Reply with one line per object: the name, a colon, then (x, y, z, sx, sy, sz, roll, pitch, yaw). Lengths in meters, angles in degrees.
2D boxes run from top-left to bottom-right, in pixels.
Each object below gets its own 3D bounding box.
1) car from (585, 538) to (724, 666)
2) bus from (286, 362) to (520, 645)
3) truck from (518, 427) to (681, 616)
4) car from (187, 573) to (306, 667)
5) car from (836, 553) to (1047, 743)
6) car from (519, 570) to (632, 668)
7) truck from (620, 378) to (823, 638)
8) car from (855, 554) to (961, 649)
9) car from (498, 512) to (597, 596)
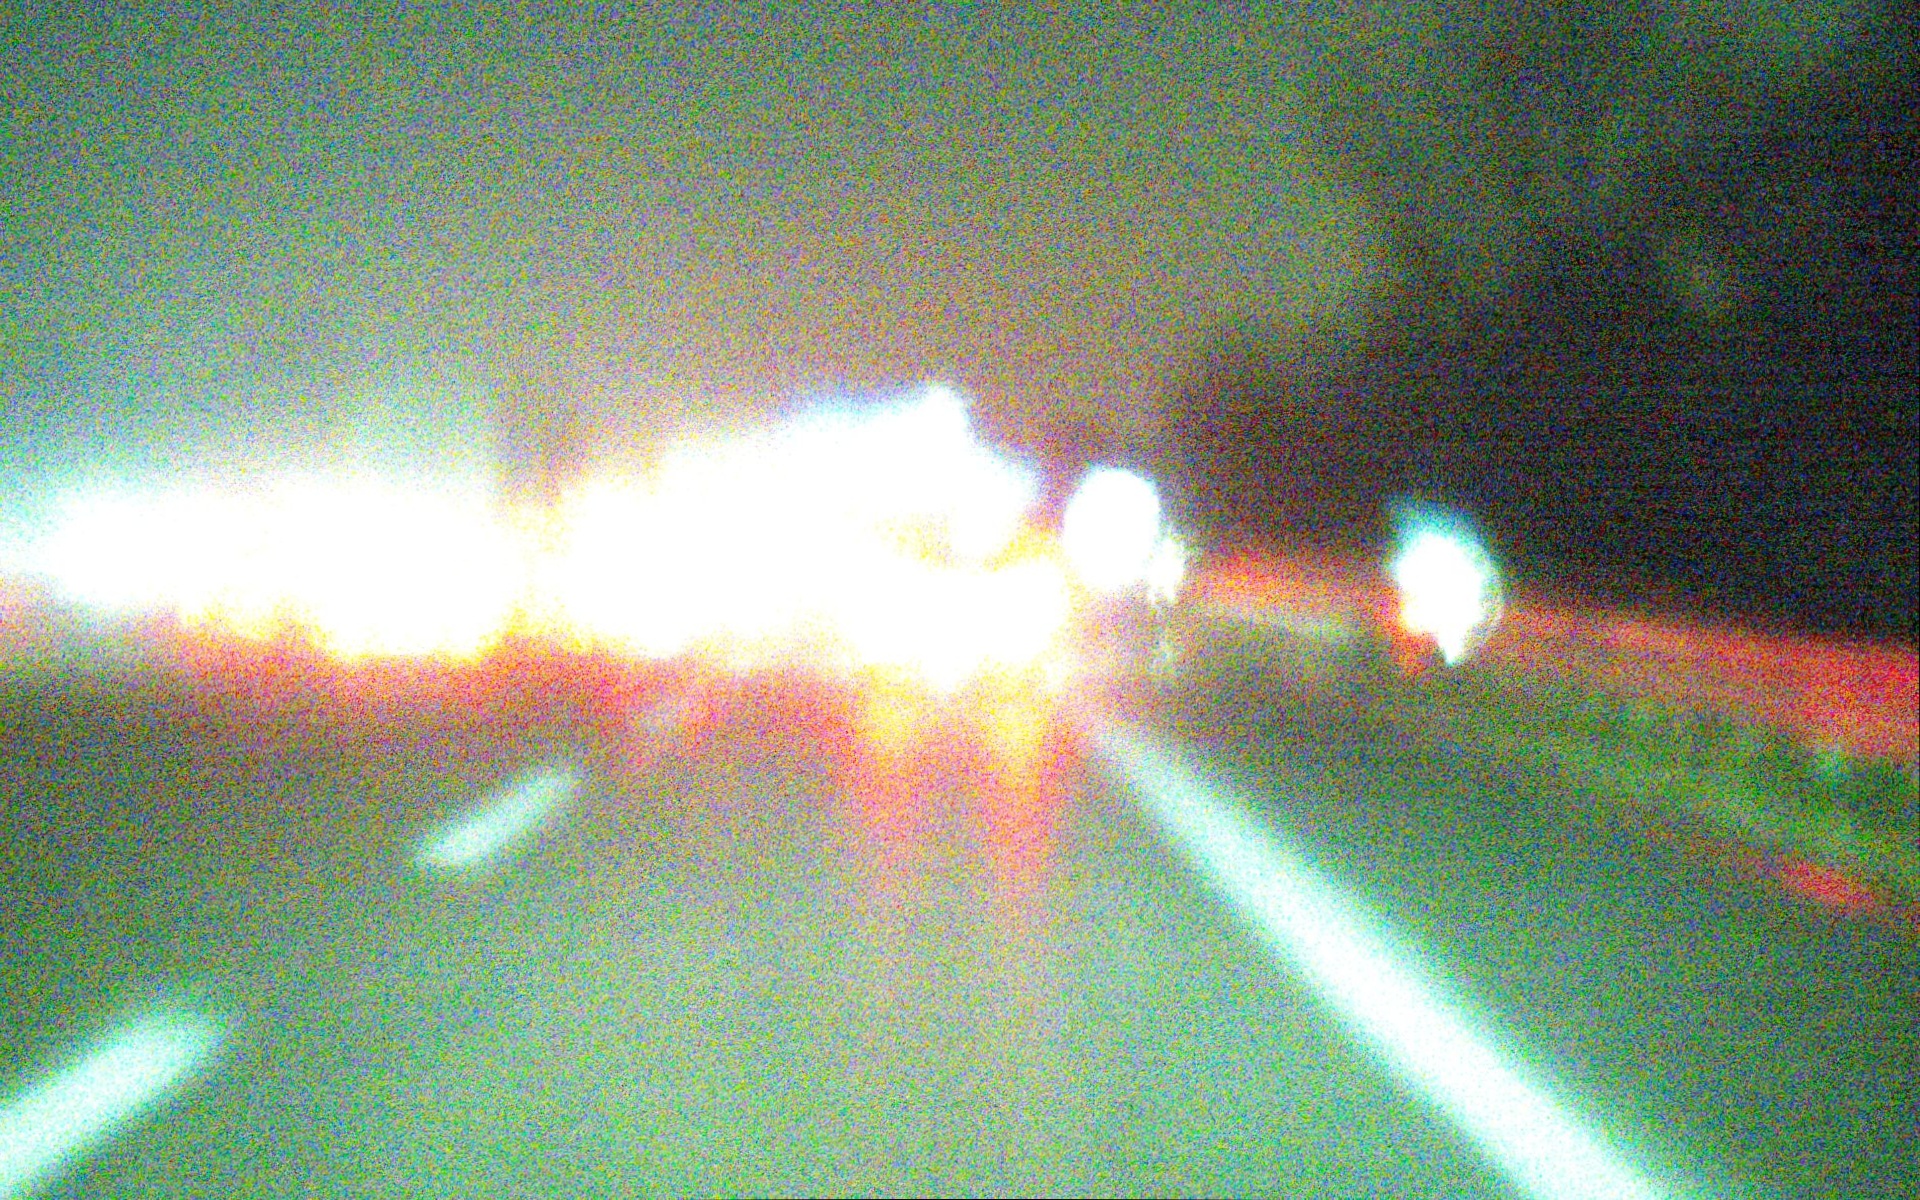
car: (-5.028, 0.012, 57.102, 2.125, 2.007, 4.646, 1, 0, -3)
bus: (-9.627, -1.598, 60.588, 3.096, 4.492, 10.915, 1, 0, -4)
truck: (-11.301, -2.409, 109.135, 4.210, 5.629, 11.468, 1, 0, -2)
car: (-13.076, 0.342, 63.184, 1.694, 1.645, 3.841, 1, 0, -5)
car: (-0.213, 0.441, 35.015, 1.993, 1.801, 4.000, 1, 0, -1)
car: (-7.385, 0.344, 66.335, 1.993, 1.801, 4.001, 1, 0, -4)
truck: (-5.448, -2.067, 80.950, 4.210, 5.629, 11.468, 1, 0, -2)
car: (-1.191, 0.009, 76.177, 2.125, 2.007, 4.646, 1, 0, -3)
car: (-9.196, -1.022, 76.934, 1.993, 1.801, 4.001, 1, 0, -4)
